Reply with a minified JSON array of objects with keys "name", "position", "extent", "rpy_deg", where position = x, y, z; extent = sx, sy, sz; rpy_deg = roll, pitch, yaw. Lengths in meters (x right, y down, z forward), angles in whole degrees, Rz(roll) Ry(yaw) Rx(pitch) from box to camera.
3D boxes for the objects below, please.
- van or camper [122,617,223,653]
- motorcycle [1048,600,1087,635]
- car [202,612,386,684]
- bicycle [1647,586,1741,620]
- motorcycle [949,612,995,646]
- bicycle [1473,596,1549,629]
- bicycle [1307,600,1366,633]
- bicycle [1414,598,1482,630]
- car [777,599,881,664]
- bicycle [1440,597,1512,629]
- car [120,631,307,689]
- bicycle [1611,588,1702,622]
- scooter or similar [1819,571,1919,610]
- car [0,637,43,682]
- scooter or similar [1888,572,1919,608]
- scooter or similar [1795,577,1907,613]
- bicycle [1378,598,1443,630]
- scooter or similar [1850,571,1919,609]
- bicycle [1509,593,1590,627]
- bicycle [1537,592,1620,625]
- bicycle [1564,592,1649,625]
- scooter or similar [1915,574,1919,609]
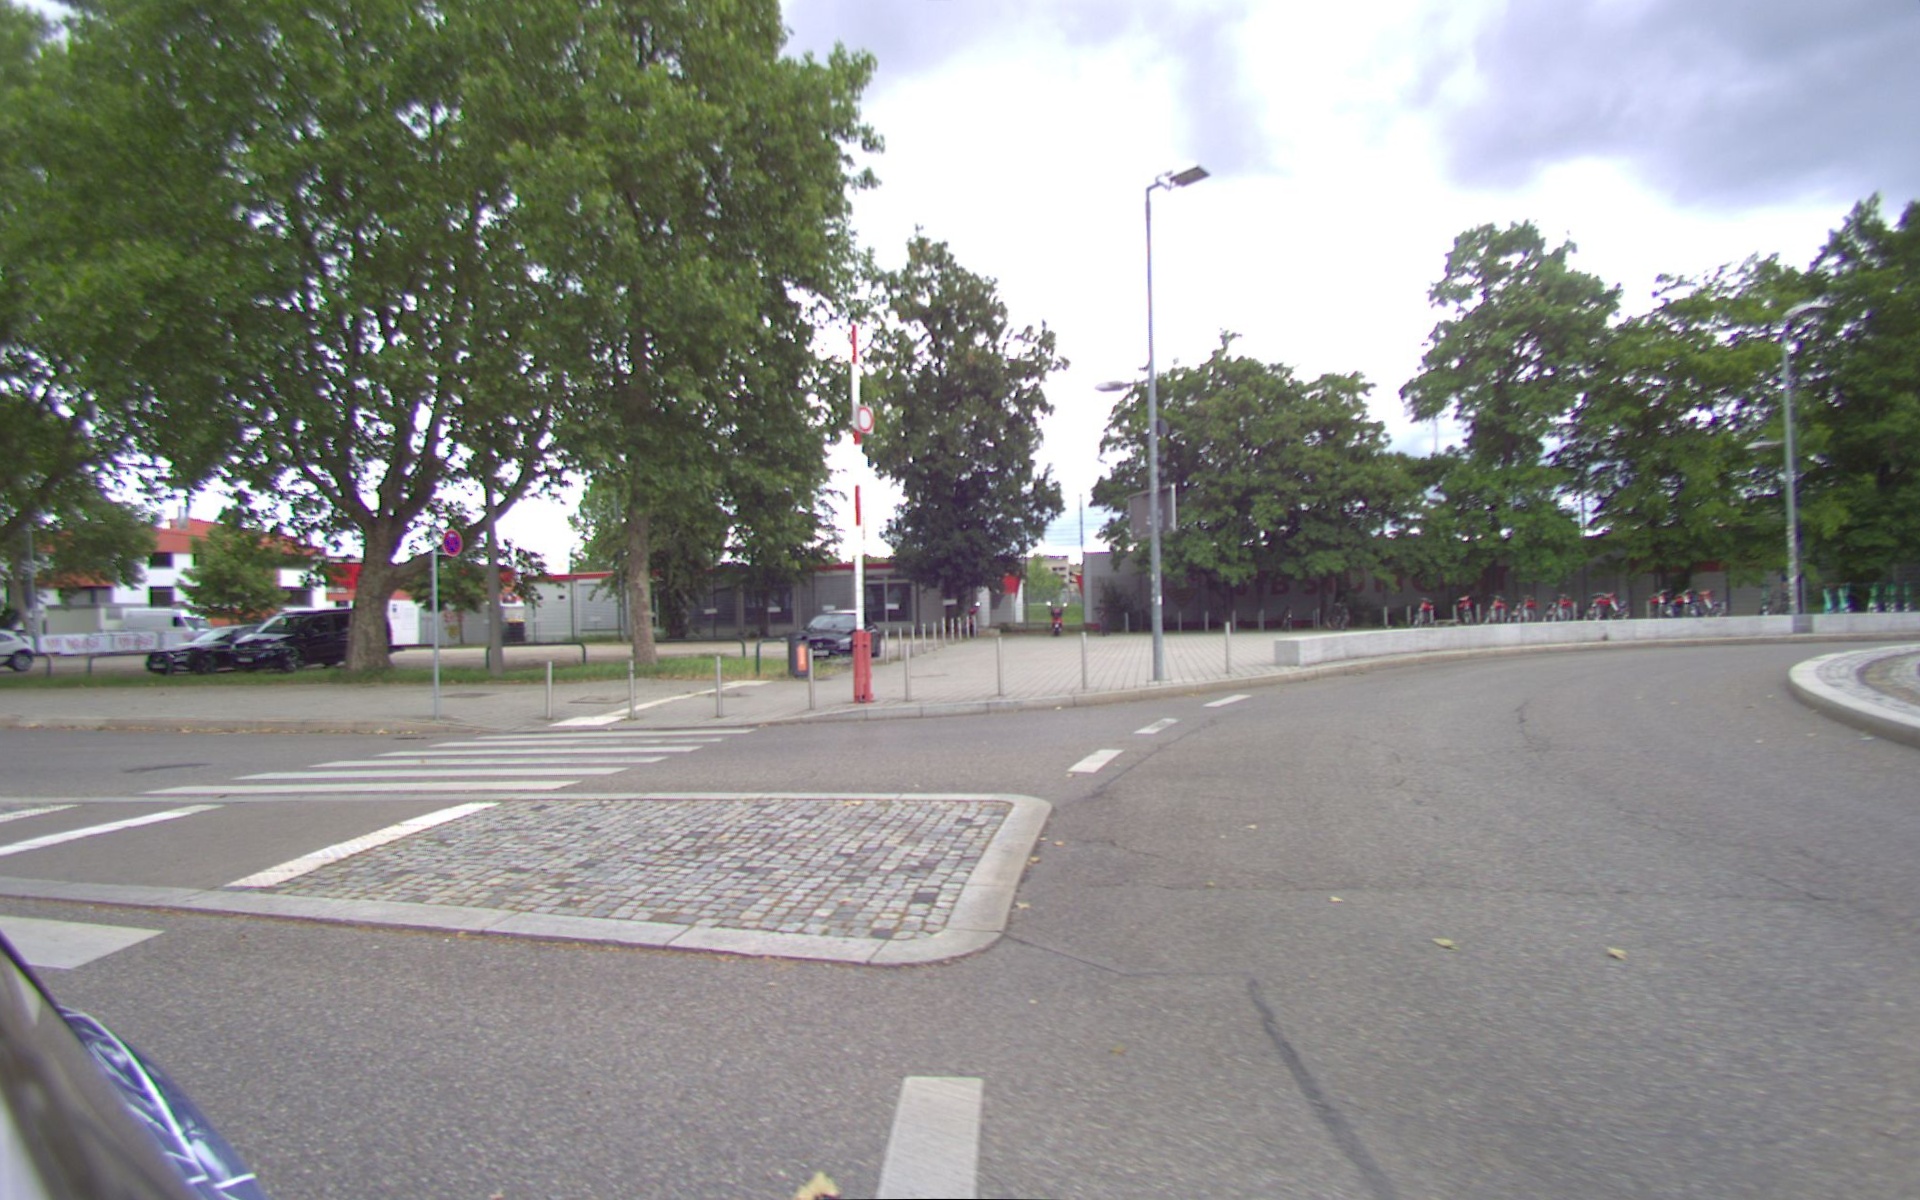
[{"name":"van or camper","position":[-48.886,2.185,62.819],"extent":[5.246,2.029,1.993],"rpy_deg":[-2,0,11]},{"name":"motorcycle","position":[4.210,0.658,39.352],"extent":[0.767,1.231,3.651],"rpy_deg":[-2,0,18]},{"name":"car","position":[-21.101,1.460,32.320],"extent":[2.241,2.041,4.611],"rpy_deg":[-2,0,14]},{"name":"bicycle","position":[25.676,0.112,35.512],"extent":[0.761,1.105,3.195],"rpy_deg":[-2,0,-4]},{"name":"motorcycle","position":[0.527,1.122,40.254],"extent":[0.767,1.231,3.651],"rpy_deg":[-2,0,18]},{"name":"bicycle","position":[19.882,0.444,36.604],"extent":[0.761,1.105,3.195],"rpy_deg":[-2,-1,-4]},{"name":"bicycle","position":[13.705,0.581,36.976],"extent":[0.762,1.105,3.194],"rpy_deg":[-2,0,-3]},{"name":"bicycle","position":[17.834,0.483,37.106],"extent":[0.762,1.105,3.194],"rpy_deg":[-2,0,-3]},{"name":"car","position":[-3.566,0.858,28.393],"extent":[2.203,1.617,3.996],"rpy_deg":[-2,-1,3]},{"name":"bicycle","position":[18.795,0.466,36.986],"extent":[0.761,1.105,3.195],"rpy_deg":[-2,0,-4]},{"name":"car","position":[-23.988,1.871,32.778],"extent":[2.088,1.579,4.621],"rpy_deg":[-1,0,14]},{"name":"bicycle","position":[24.491,0.178,35.693],"extent":[0.761,1.105,3.195],"rpy_deg":[-2,0,-4]},{"name":"scooter or similar","position":[30.840,-0.309,34.145],"extent":[0.761,1.259,3.195],"rpy_deg":[-2,0,-4]},{"name":"car","position":[-35.187,2.166,35.578],"extent":[1.981,1.534,3.985],"rpy_deg":[-2,0,12]},{"name":"scooter or similar","position":[33.386,-0.362,34.276],"extent":[0.761,1.259,3.195],"rpy_deg":[-2,0,-4]},{"name":"scooter or similar","position":[29.914,-0.153,34.074],"extent":[0.761,1.105,3.195],"rpy_deg":[-2,0,-4]},{"name":"bicycle","position":[16.480,0.498,37.105],"extent":[0.762,1.105,3.194],"rpy_deg":[-2,0,-3]},{"name":"scooter or similar","position":[31.948,-0.350,34.165],"extent":[0.761,1.259,3.195],"rpy_deg":[-2,0,-4]},{"name":"bicycle","position":[20.868,0.384,35.931],"extent":[0.761,1.105,3.194],"rpy_deg":[-2,-2,-4]},{"name":"bicycle","position":[22.009,0.302,36.117],"extent":[0.761,1.105,3.195],"rpy_deg":[-2,0,-4]},{"name":"bicycle","position":[23.077,0.294,36.218],"extent":[0.761,1.105,3.195],"rpy_deg":[-2,0,-4]},{"name":"scooter or similar","position":[34.482,-0.316,34.412],"extent":[0.761,1.259,3.195],"rpy_deg":[-2,0,-4]}]
